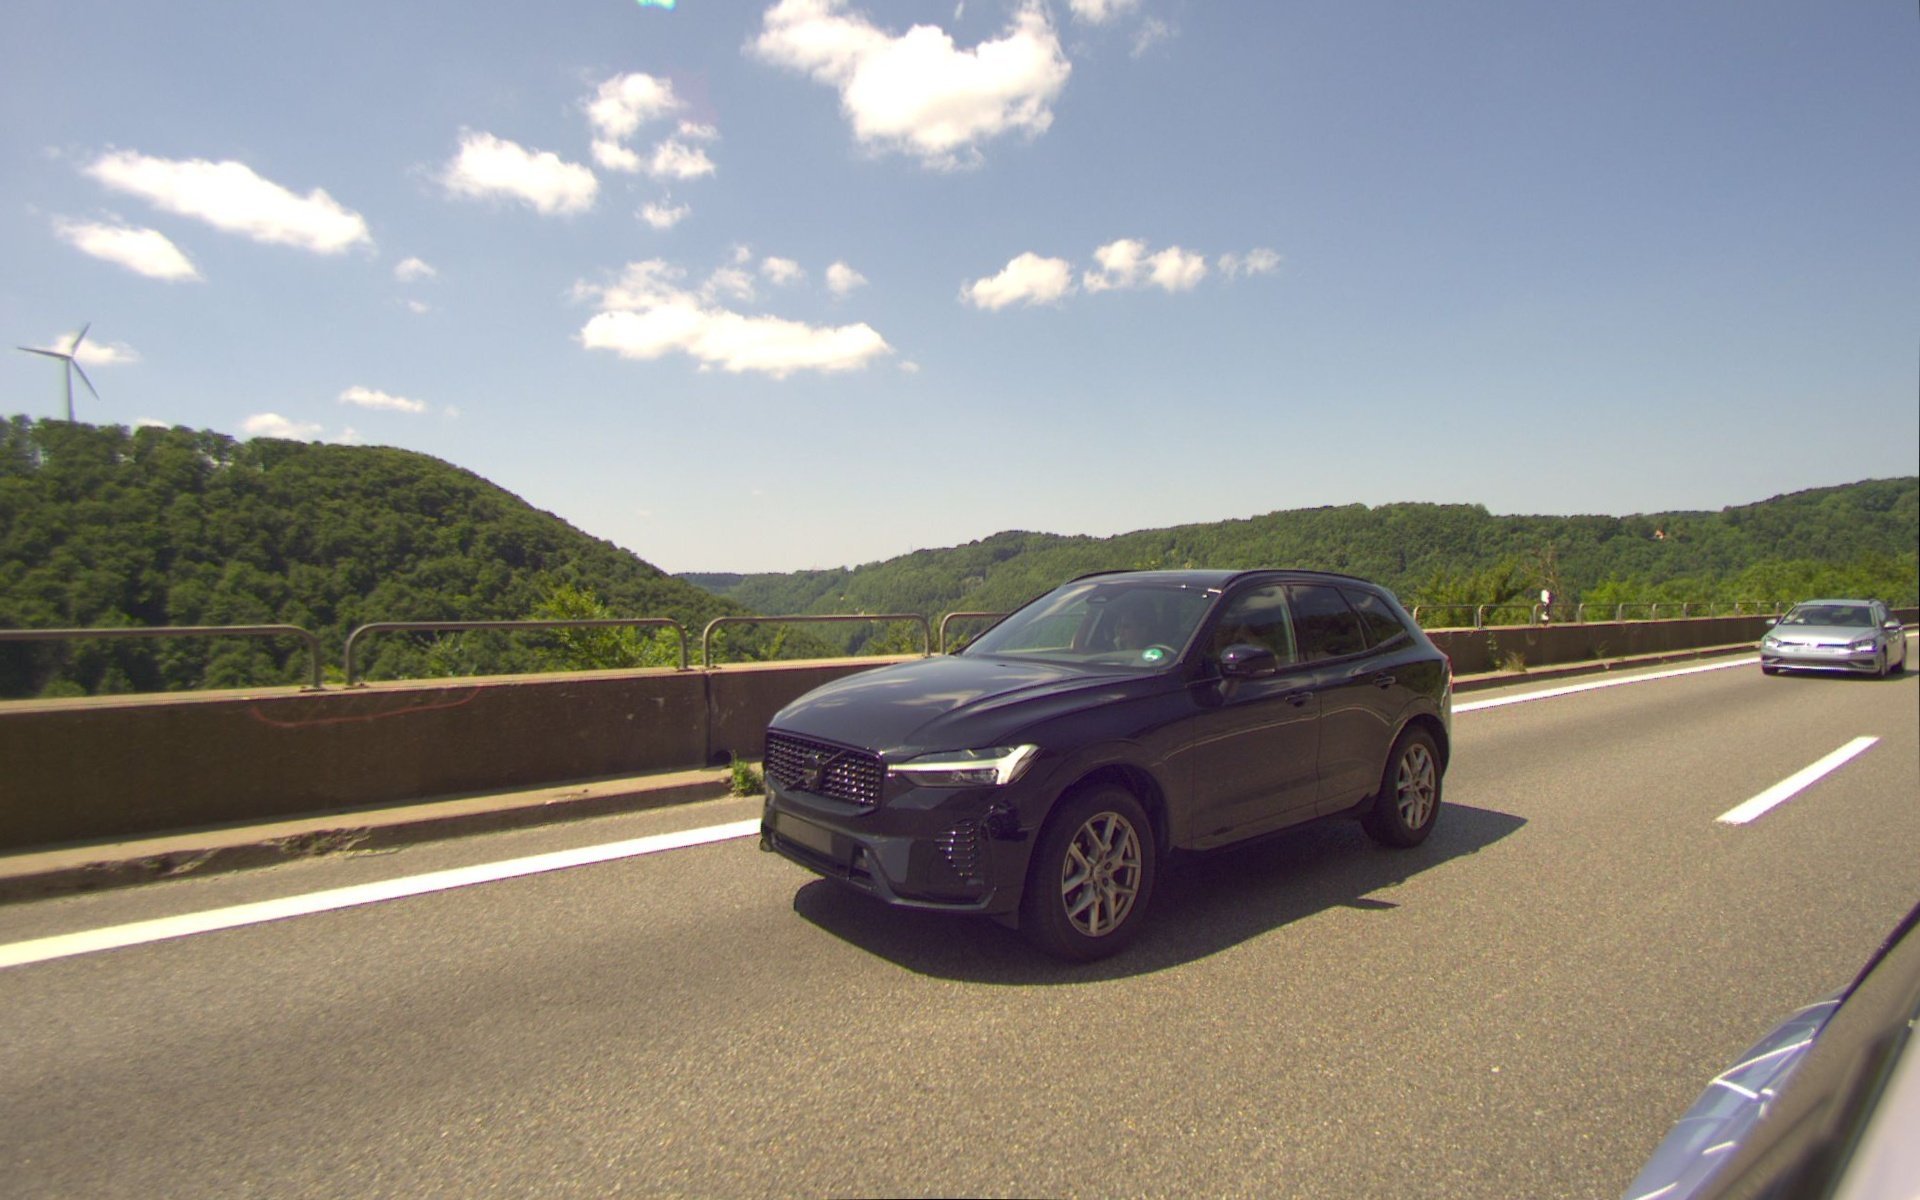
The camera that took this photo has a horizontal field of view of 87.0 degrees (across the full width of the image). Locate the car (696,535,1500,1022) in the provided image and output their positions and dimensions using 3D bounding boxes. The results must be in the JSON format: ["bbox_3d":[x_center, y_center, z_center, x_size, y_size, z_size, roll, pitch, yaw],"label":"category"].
[{"bbox_3d":[1.067,0.585,5.630,4.579,1.654,1.838,-1,0,-40],"label":"car"}]

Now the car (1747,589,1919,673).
[{"bbox_3d":[17.093,0.520,19.645,4.217,1.395,1.972,-1,2,-39],"label":"car"}]
